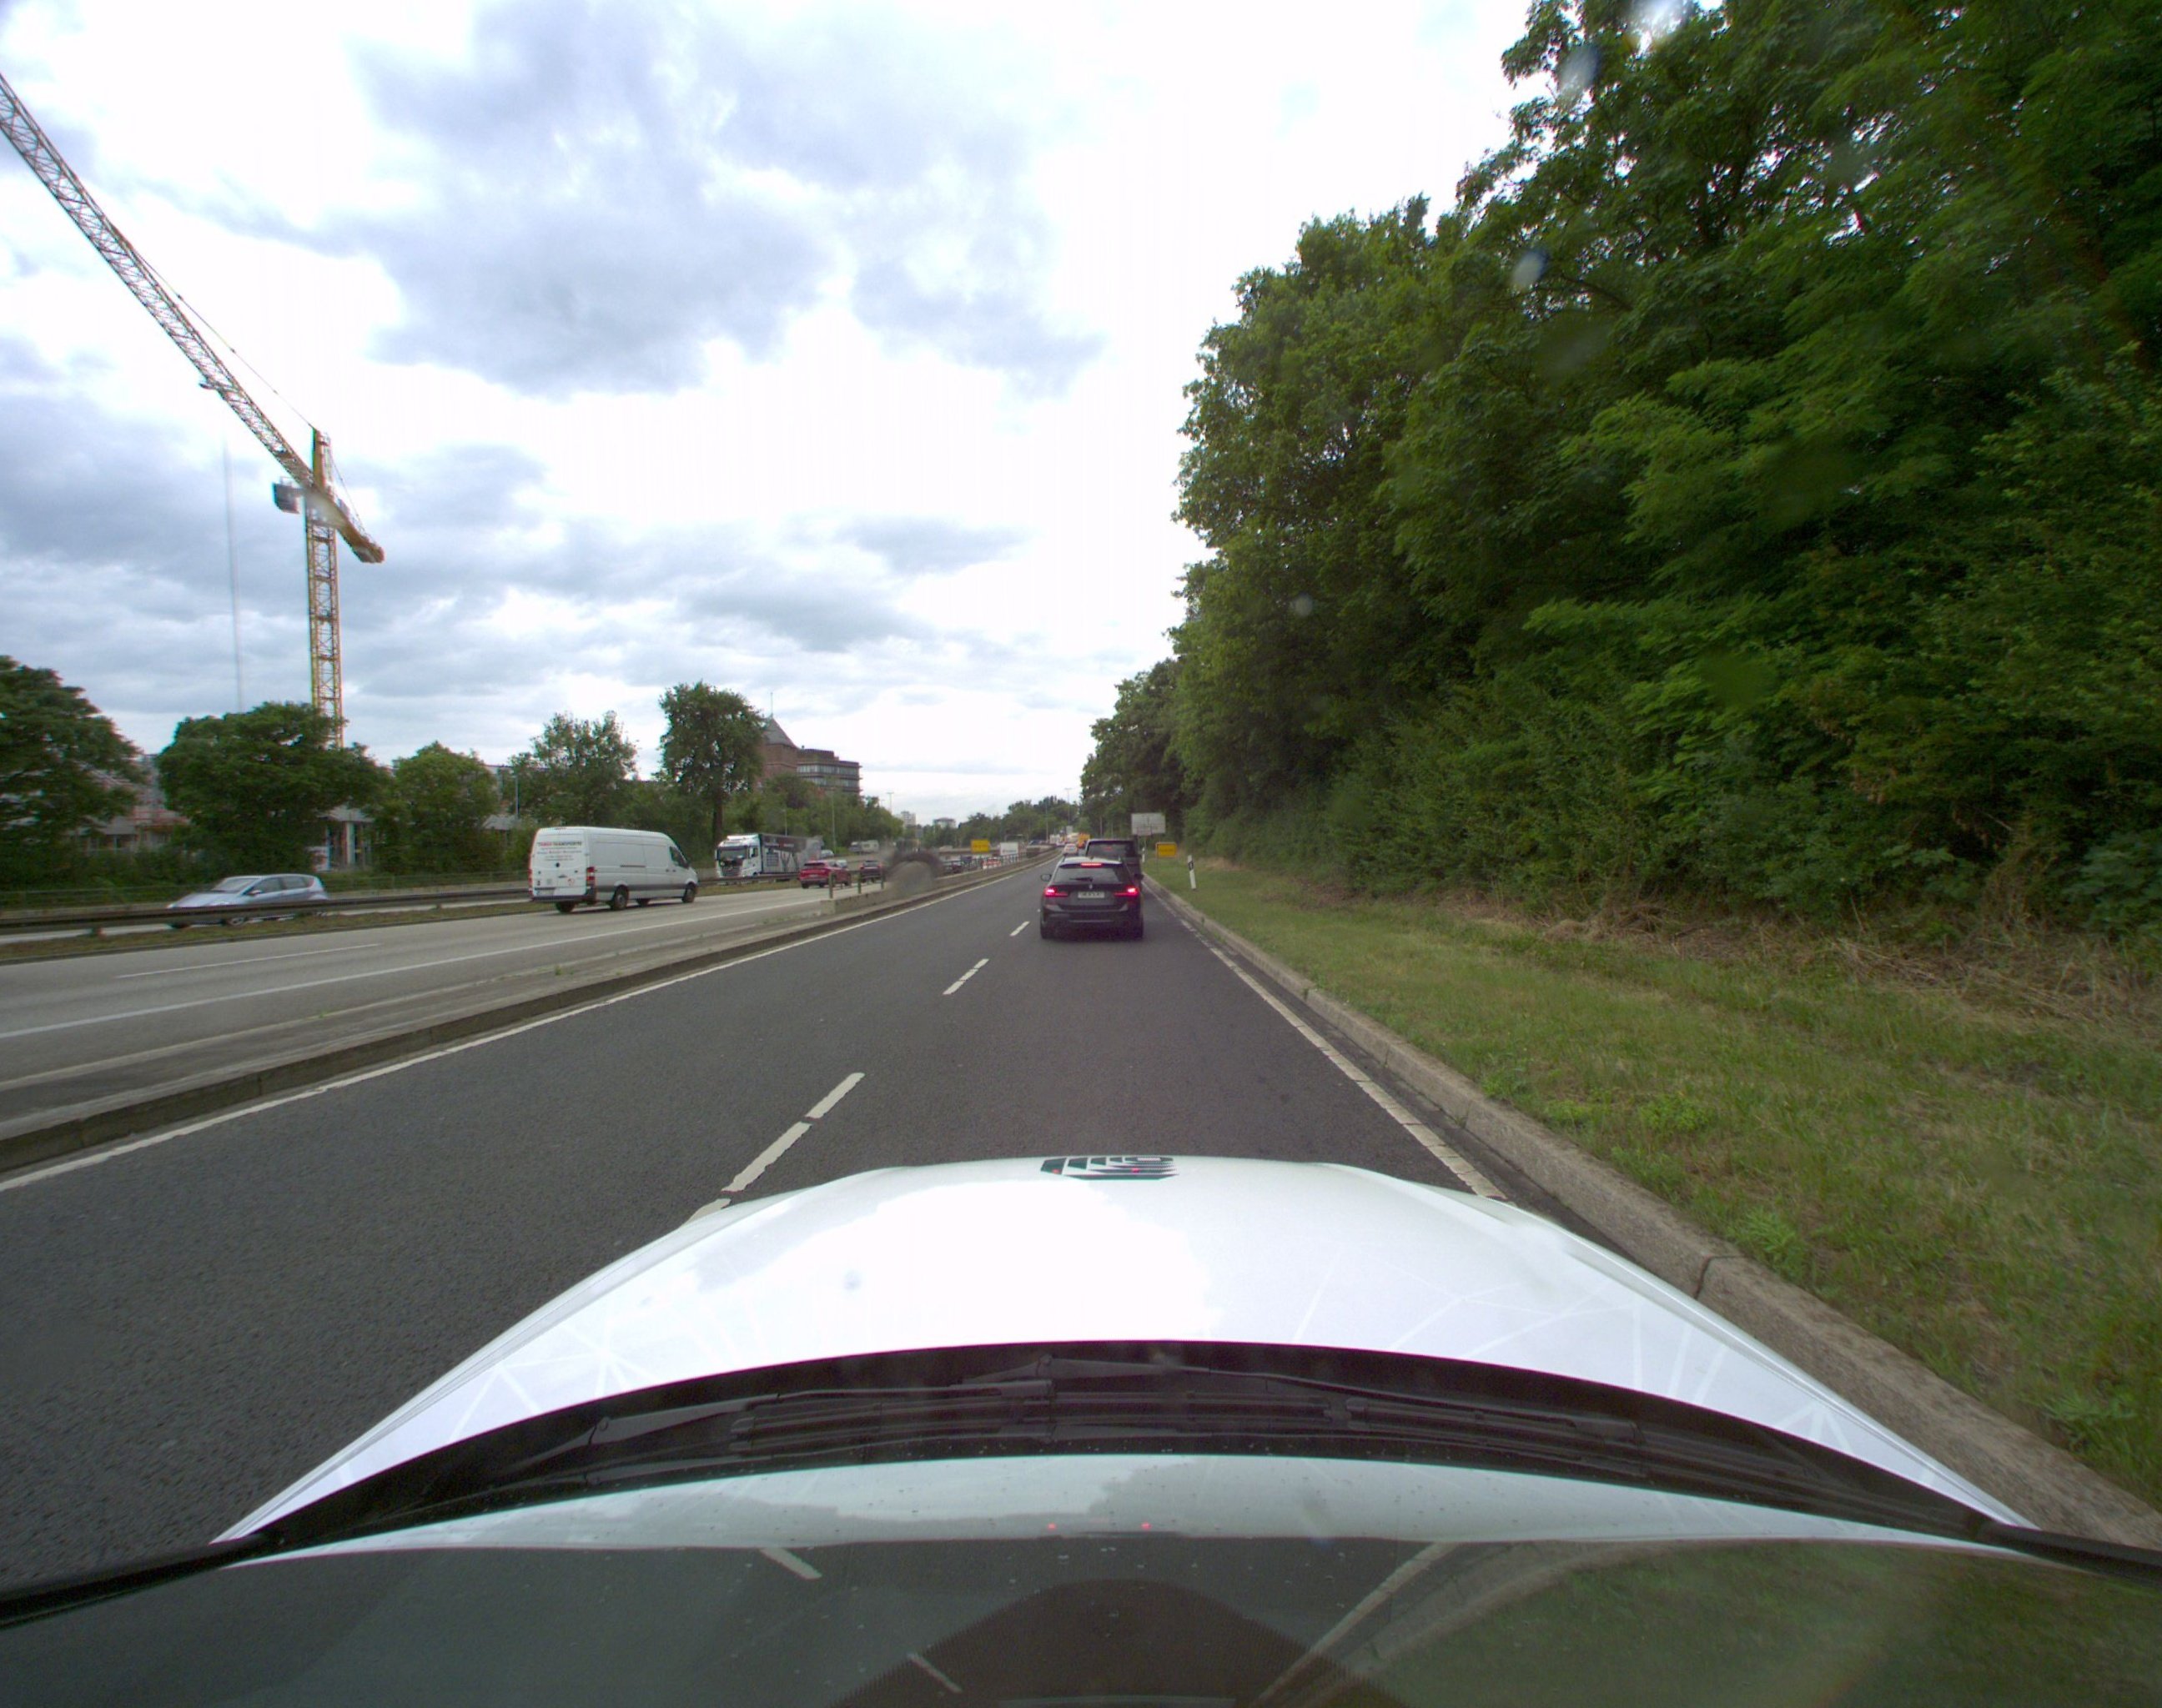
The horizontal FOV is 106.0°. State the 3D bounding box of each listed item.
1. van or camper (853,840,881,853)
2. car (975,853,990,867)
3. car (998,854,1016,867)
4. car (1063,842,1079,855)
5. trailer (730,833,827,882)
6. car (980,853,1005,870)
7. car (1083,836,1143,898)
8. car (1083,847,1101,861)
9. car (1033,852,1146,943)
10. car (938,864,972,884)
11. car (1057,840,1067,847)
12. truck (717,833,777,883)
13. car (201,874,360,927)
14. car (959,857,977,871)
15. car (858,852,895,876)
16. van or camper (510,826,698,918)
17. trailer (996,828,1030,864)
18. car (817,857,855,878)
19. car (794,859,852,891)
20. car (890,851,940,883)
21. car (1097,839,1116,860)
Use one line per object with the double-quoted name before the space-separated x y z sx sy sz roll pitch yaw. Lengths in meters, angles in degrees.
"van or camper" -45.702 -1.526 173.827 1.897 2.637 5.696 0 0 44
"car" -14.458 0.882 119.678 1.438 2.044 3.682 -2 0 2
"car" -9.081 0.752 99.791 1.763 1.549 3.492 -2 0 0
"car" -1.255 -0.679 102.285 1.852 1.464 4.885 -1 0 1
"trailer" -26.157 0.236 71.556 2.581 3.757 14.732 -2 0 2
"car" -9.319 0.747 86.165 1.938 1.692 4.509 -2 0 2
"car" 1.031 0.387 26.685 1.789 1.872 4.002 -1 0 2
"car" 1.130 0.011 85.998 1.852 1.464 4.534 -1 0 1
"car" 0.134 0.704 15.321 1.840 1.466 3.999 0 0 0
"car" -9.954 1.539 64.611 1.706 1.456 4.669 -1 0 2
"car" -4.457 -2.358 189.758 1.929 1.596 3.868 -2 0 -7
"truck" -26.340 0.286 64.500 2.583 3.768 4.779 -2 0 1
"car" -26.221 1.484 26.853 1.591 1.490 3.626 -2 0 1
"car" -14.707 1.286 106.092 1.682 1.632 3.734 0 0 0
"car" -14.752 0.702 58.894 1.682 1.608 4.008 0 0 0
"van or camper" -15.533 0.503 27.208 2.042 2.621 6.957 -2 0 1
"trailer" -9.352 -1.057 113.654 3.121 4.725 14.562 0 0 1
"car" -21.822 1.159 72.668 1.986 1.765 4.002 -2 0 2
"car" -14.951 1.153 47.432 1.884 1.681 4.306 -2 0 0
"car" -10.132 0.761 50.045 1.987 1.851 4.811 -1 0 0
"car" 1.986 -0.346 63.353 1.447 1.540 3.226 -2 0 2
